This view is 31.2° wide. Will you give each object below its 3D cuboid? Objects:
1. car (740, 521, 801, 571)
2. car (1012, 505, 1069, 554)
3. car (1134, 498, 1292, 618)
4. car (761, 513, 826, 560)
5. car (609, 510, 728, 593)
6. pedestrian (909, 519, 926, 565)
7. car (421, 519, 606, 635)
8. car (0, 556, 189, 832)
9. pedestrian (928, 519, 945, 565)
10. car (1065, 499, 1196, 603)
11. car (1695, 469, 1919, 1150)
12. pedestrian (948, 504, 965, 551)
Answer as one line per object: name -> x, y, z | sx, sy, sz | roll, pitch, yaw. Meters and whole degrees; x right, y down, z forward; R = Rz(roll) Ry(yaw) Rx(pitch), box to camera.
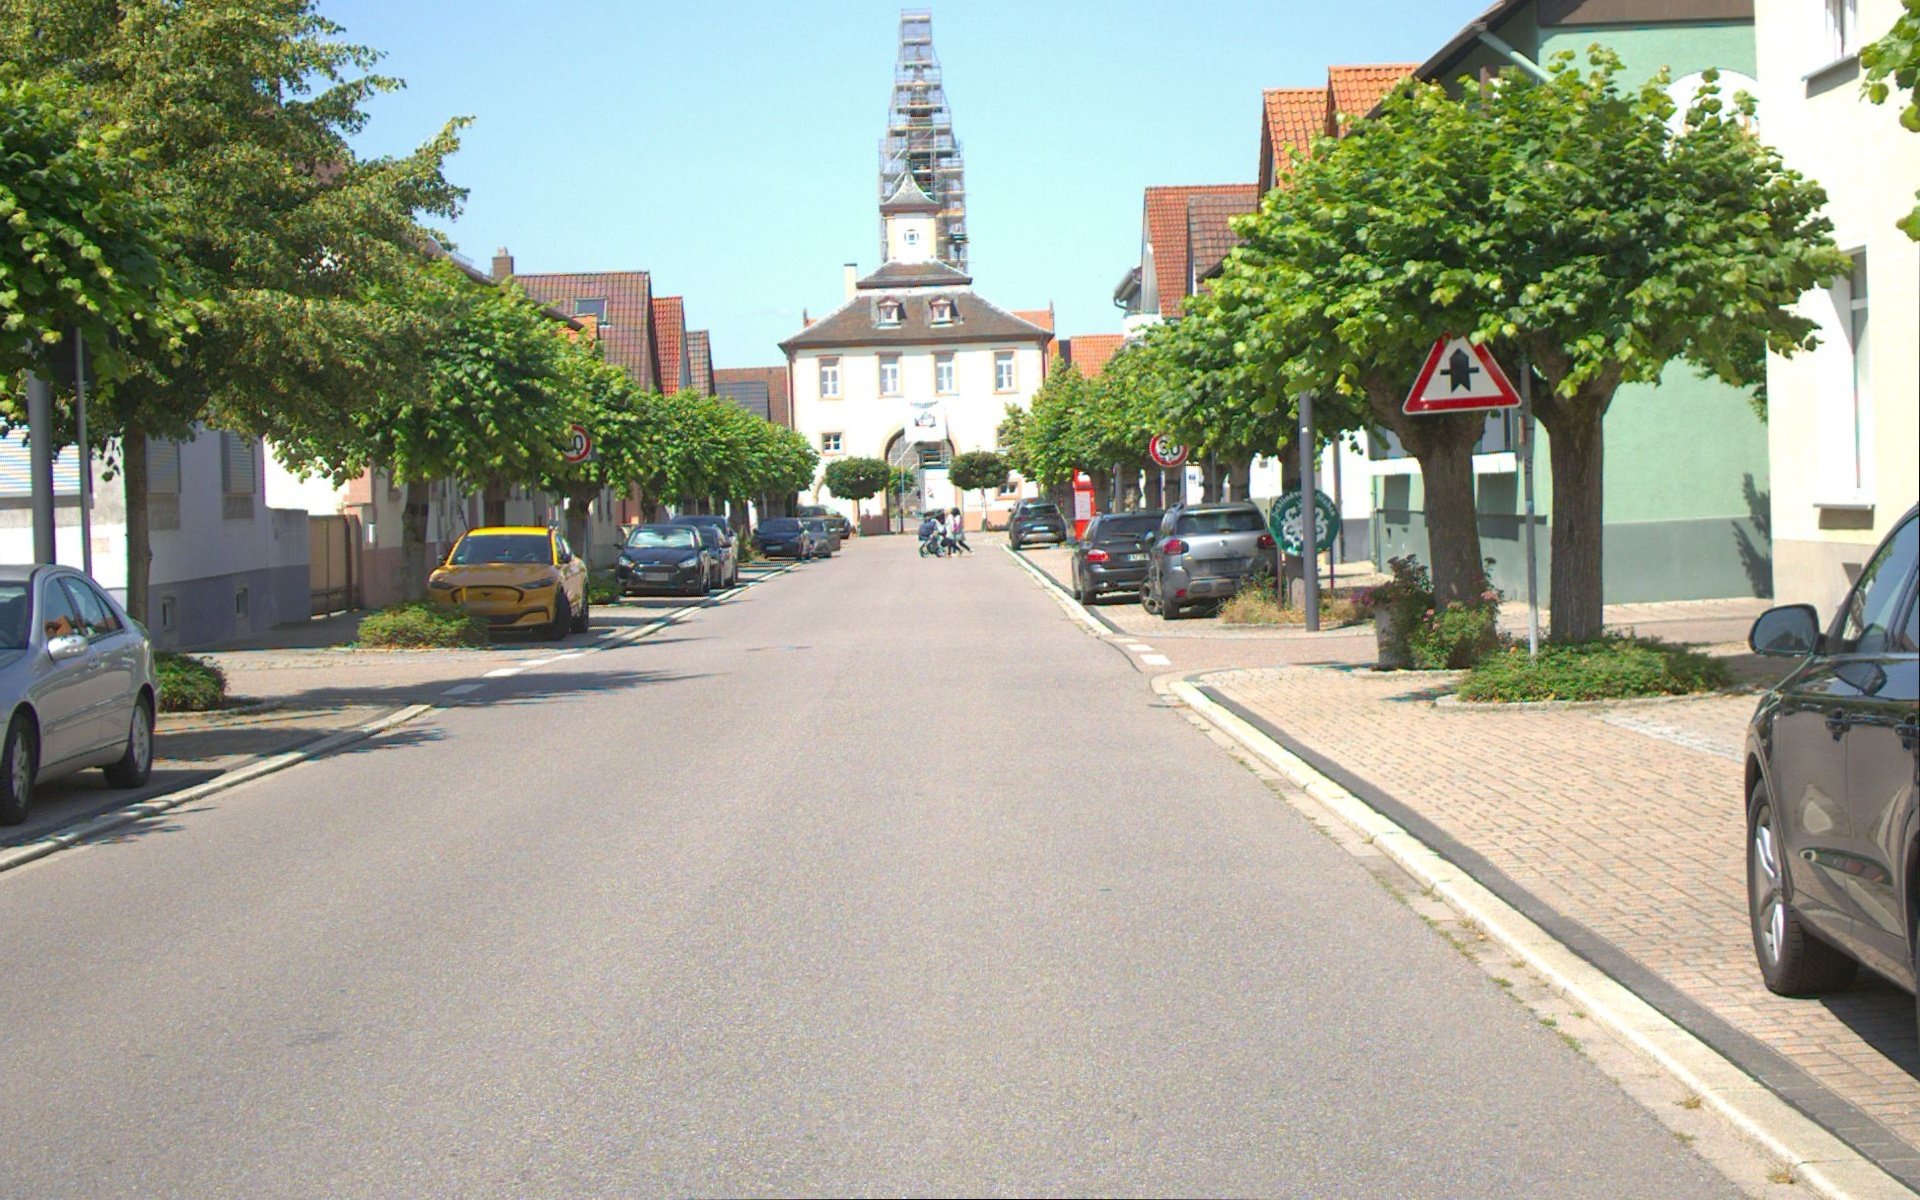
car -> -6.273, -1.809, 114.179 | 1.757, 1.550, 4.020 | -2, 1, 0
car -> 2.781, -2.474, 120.101 | 1.837, 1.550, 4.314 | -3, 1, 0
car -> 3.590, -0.625, 49.363 | 1.837, 1.602, 4.001 | -2, 1, -1
car -> -5.791, -2.202, 119.914 | 1.993, 1.606, 3.855 | 0, 1, 1
car -> -5.990, -1.024, 71.112 | 1.993, 1.606, 4.689 | 0, 2, 1
pedestrian -> -1.327, -1.791, 106.259 | 0.358, 1.398, 0.319 | -1, 2, 37
car -> -6.411, -0.373, 49.854 | 1.993, 1.606, 4.689 | 0, 1, 1
car -> -5.906, 0.475, 20.085 | 1.840, 1.391, 4.407 | -1, 1, -1
pedestrian -> -0.725, -1.792, 106.372 | 0.358, 1.398, 0.319 | -1, 2, 37
car -> 2.787, -0.830, 56.988 | 1.837, 1.550, 4.314 | -3, 1, 0
car -> 3.193, 0.426, 9.016 | 1.824, 1.580, 4.057 | -3, 2, 4
pedestrian -> -0.120, -2.225, 105.409 | 0.358, 1.398, 0.319 | -1, 2, 37
